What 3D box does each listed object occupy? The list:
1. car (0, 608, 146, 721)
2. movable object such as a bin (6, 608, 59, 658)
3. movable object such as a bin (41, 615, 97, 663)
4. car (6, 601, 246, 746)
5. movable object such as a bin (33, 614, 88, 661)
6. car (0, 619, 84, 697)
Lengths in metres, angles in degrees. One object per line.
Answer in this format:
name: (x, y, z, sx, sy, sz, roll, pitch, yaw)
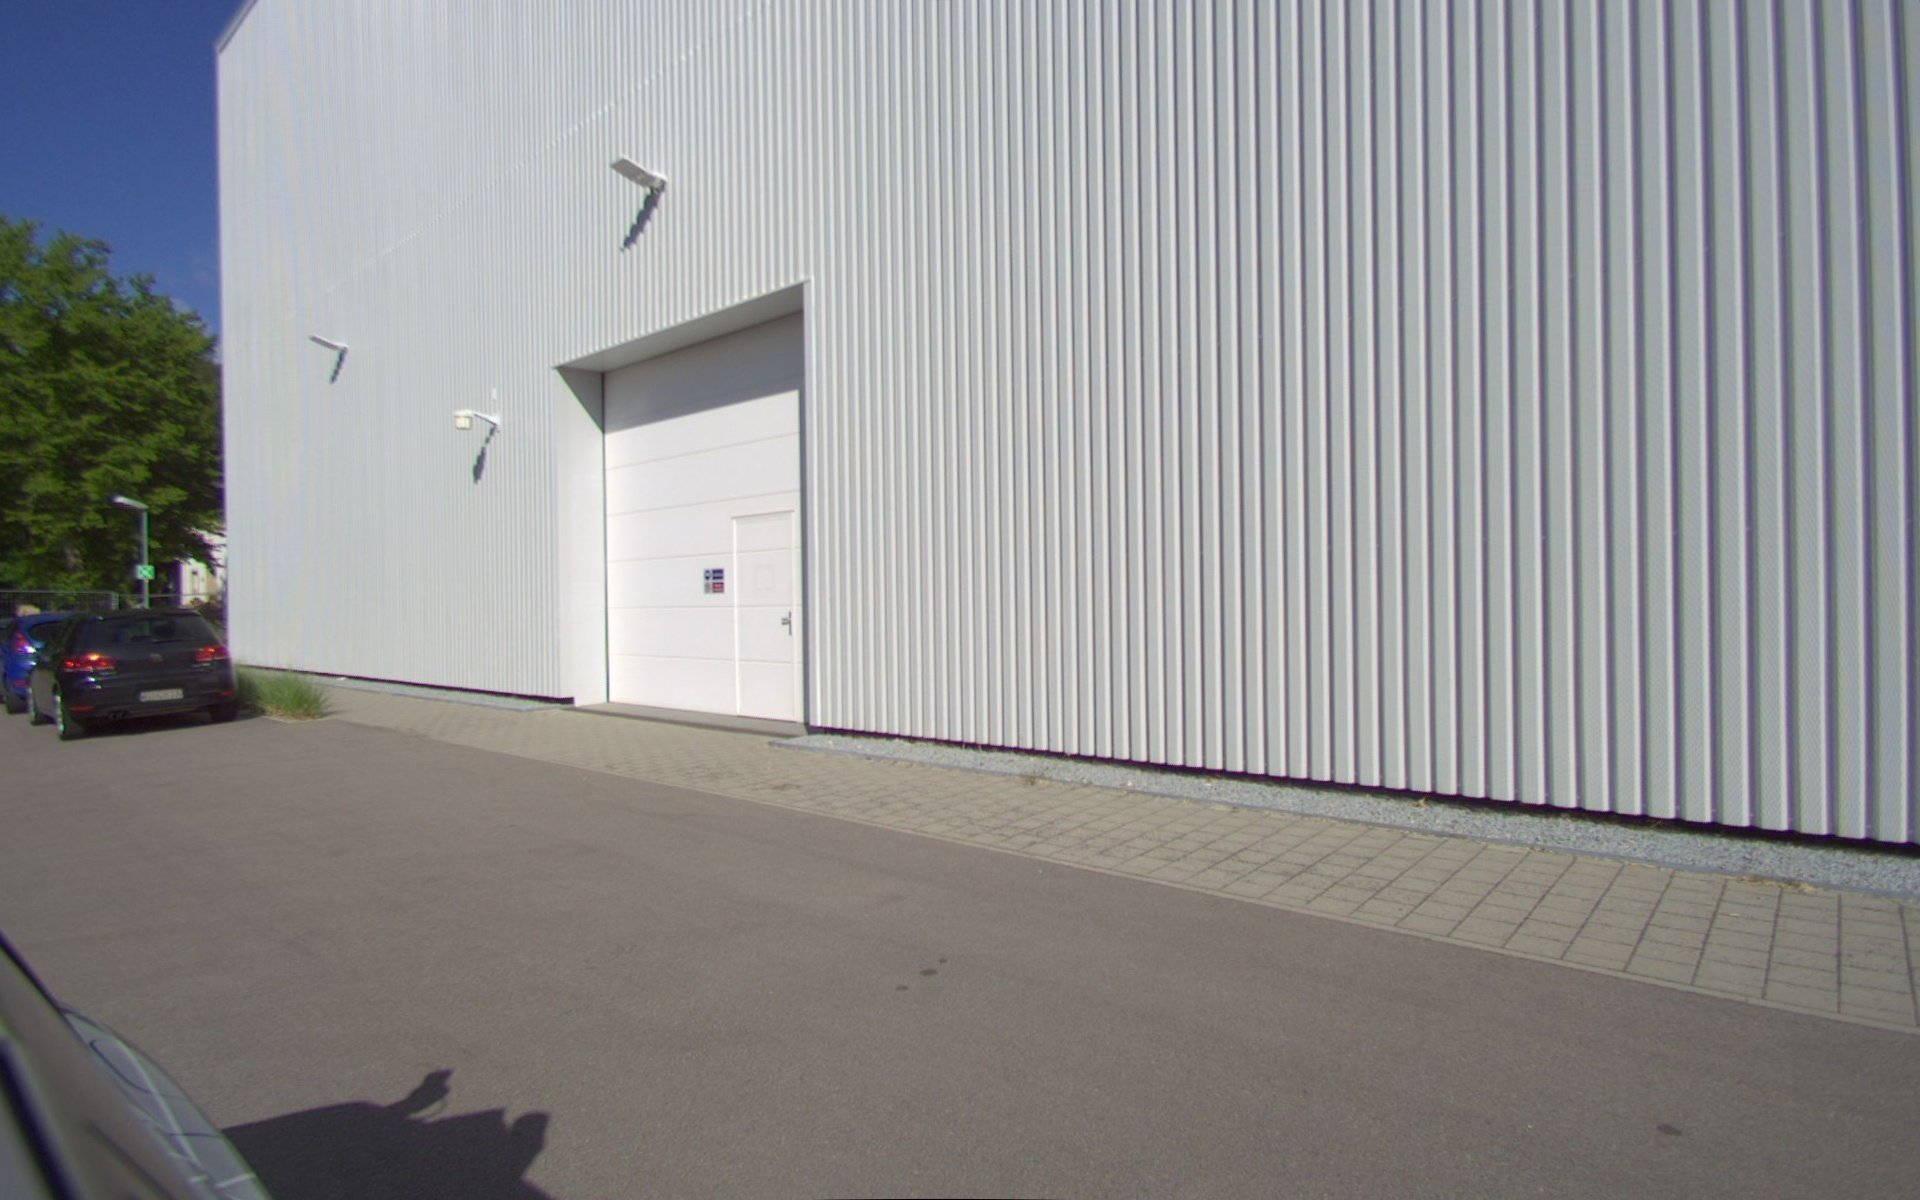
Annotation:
car: (-14.648, 0.956, 16.301, 4.092, 1.511, 1.614, -1, 2, 40)
movable object such as a bin: (-31.221, 1.080, 34.076, 1.228, 1.609, 1.080, 1, 1, 36)
movable object such as a bin: (-28.465, 1.212, 32.327, 1.228, 1.443, 1.080, 0, 2, 36)
car: (-10.917, 0.836, 13.136, 4.292, 1.511, 1.736, -1, 1, 42)
movable object such as a bin: (-29.490, 1.196, 33.179, 1.228, 1.450, 1.080, 0, 2, 36)
car: (-18.756, 1.094, 19.871, 4.051, 1.371, 1.756, -1, 0, 41)
